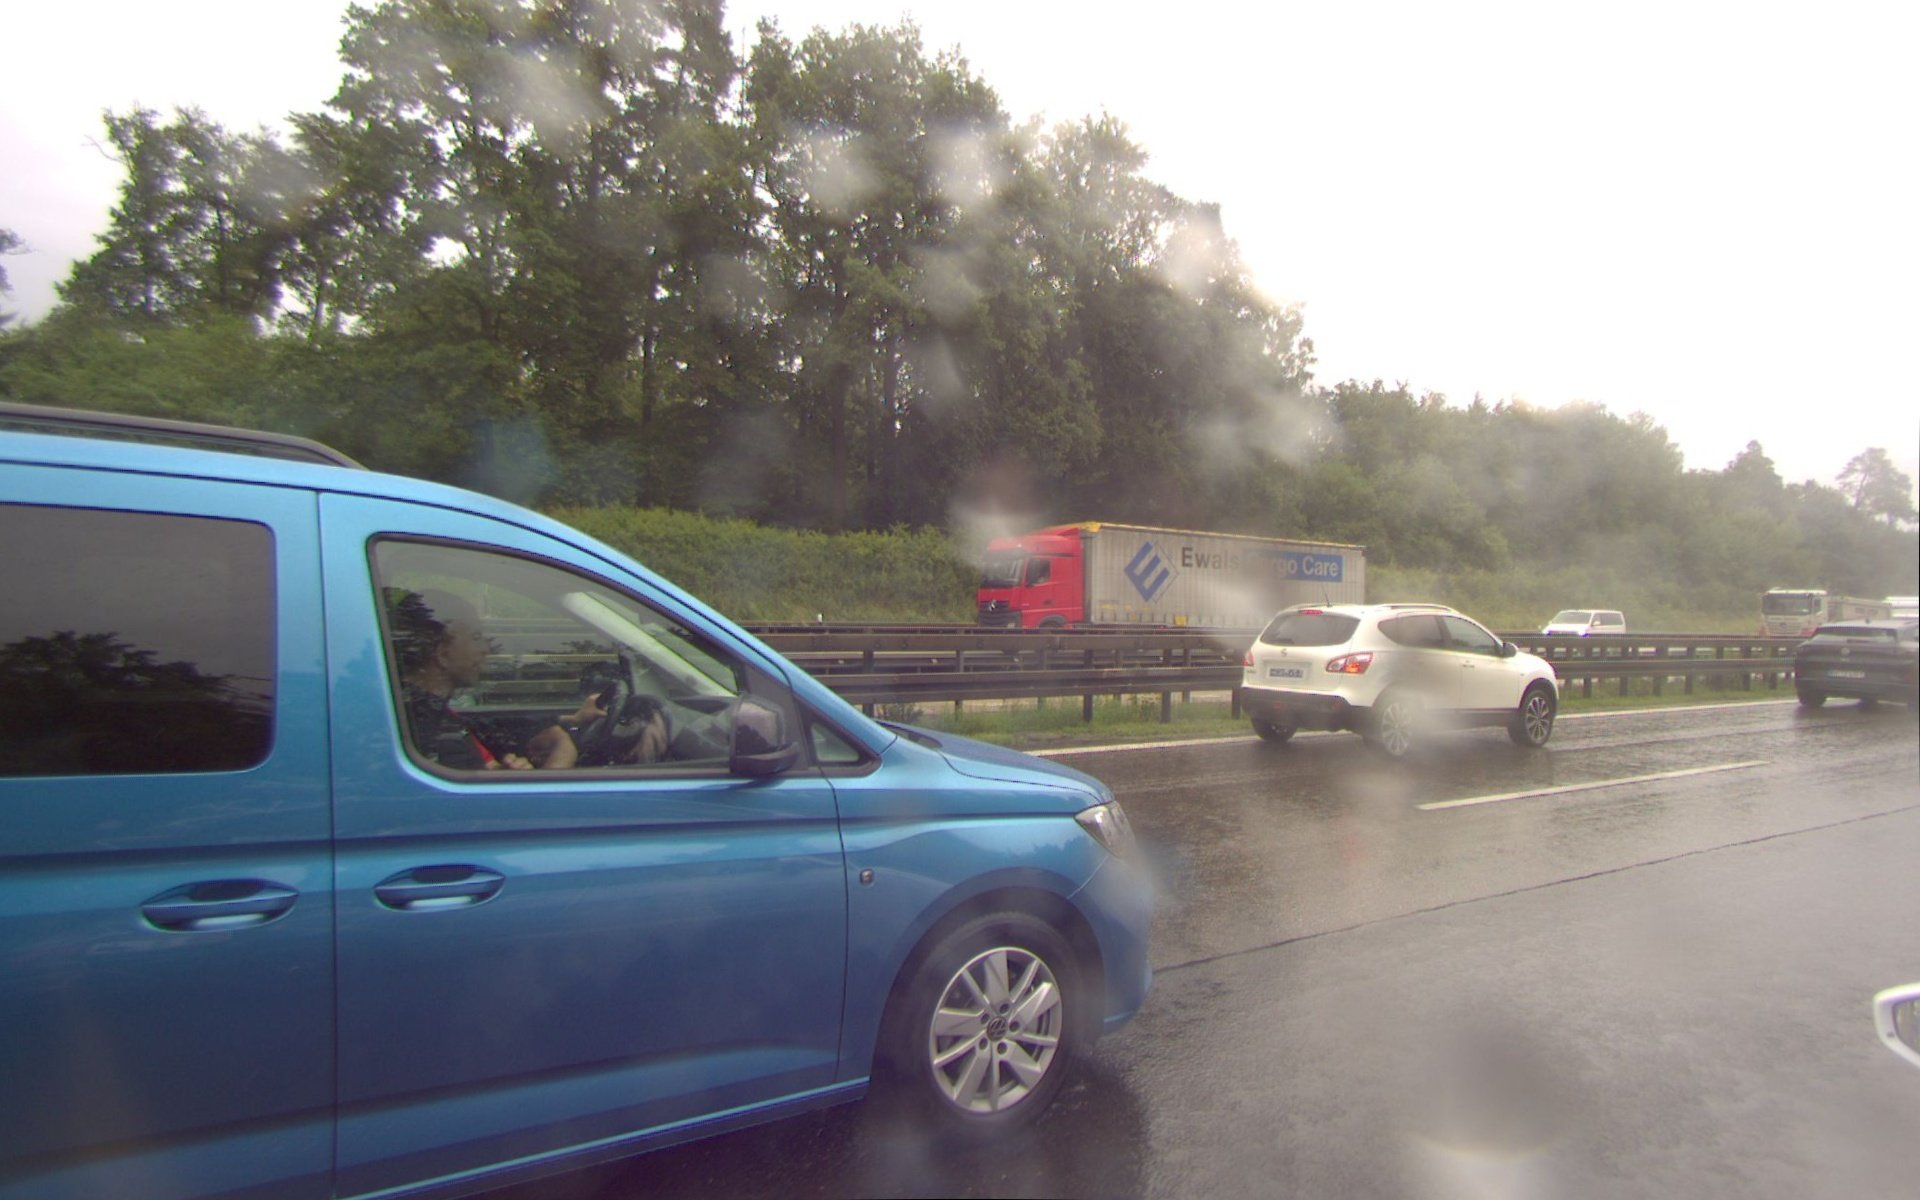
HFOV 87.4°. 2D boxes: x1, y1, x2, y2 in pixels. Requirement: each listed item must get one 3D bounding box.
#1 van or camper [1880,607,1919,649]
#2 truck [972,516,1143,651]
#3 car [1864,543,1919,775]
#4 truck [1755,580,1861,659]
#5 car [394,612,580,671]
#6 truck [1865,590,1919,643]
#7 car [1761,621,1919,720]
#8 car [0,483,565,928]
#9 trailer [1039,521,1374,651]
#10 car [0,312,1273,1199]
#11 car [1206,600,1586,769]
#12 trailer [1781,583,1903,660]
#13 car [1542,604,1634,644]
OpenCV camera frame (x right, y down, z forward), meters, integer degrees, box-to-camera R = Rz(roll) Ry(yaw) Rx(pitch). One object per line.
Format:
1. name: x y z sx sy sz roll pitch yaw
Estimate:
1. van or camper: 60.996 1.785 63.934 6.052 2.581 2.186 1 -1 -33
2. truck: 3.137 -0.421 32.201 4.835 4.006 2.690 1 -1 -31
3. car: 13.259 0.707 11.961 4.954 2.607 2.203 1 0 -29
4. truck: 45.163 1.068 53.425 6.462 4.006 2.365 1 -1 -31
5. car: -11.622 1.002 24.751 3.958 1.362 1.791 2 -1 -33
6. truck: 70.498 1.229 75.045 6.194 3.869 2.690 1 0 -32
7. car: 17.091 1.232 18.803 4.414 1.613 1.836 1 0 -31
8. car: -4.956 0.452 5.171 5.183 1.970 1.981 2 0 -31
9. trailer: 9.224 -0.254 35.894 13.800 4.006 2.706 2 -2 -31
10. car: -1.762 0.488 2.874 4.953 1.937 2.260 1 0 -28
11. car: 5.125 0.850 11.648 4.415 1.613 1.836 1 0 -31
12. trailer: 49.106 1.222 55.823 9.314 4.006 2.365 2 -1 -31
13. car: 29.357 1.101 46.923 4.991 1.793 1.980 1 -1 -36
